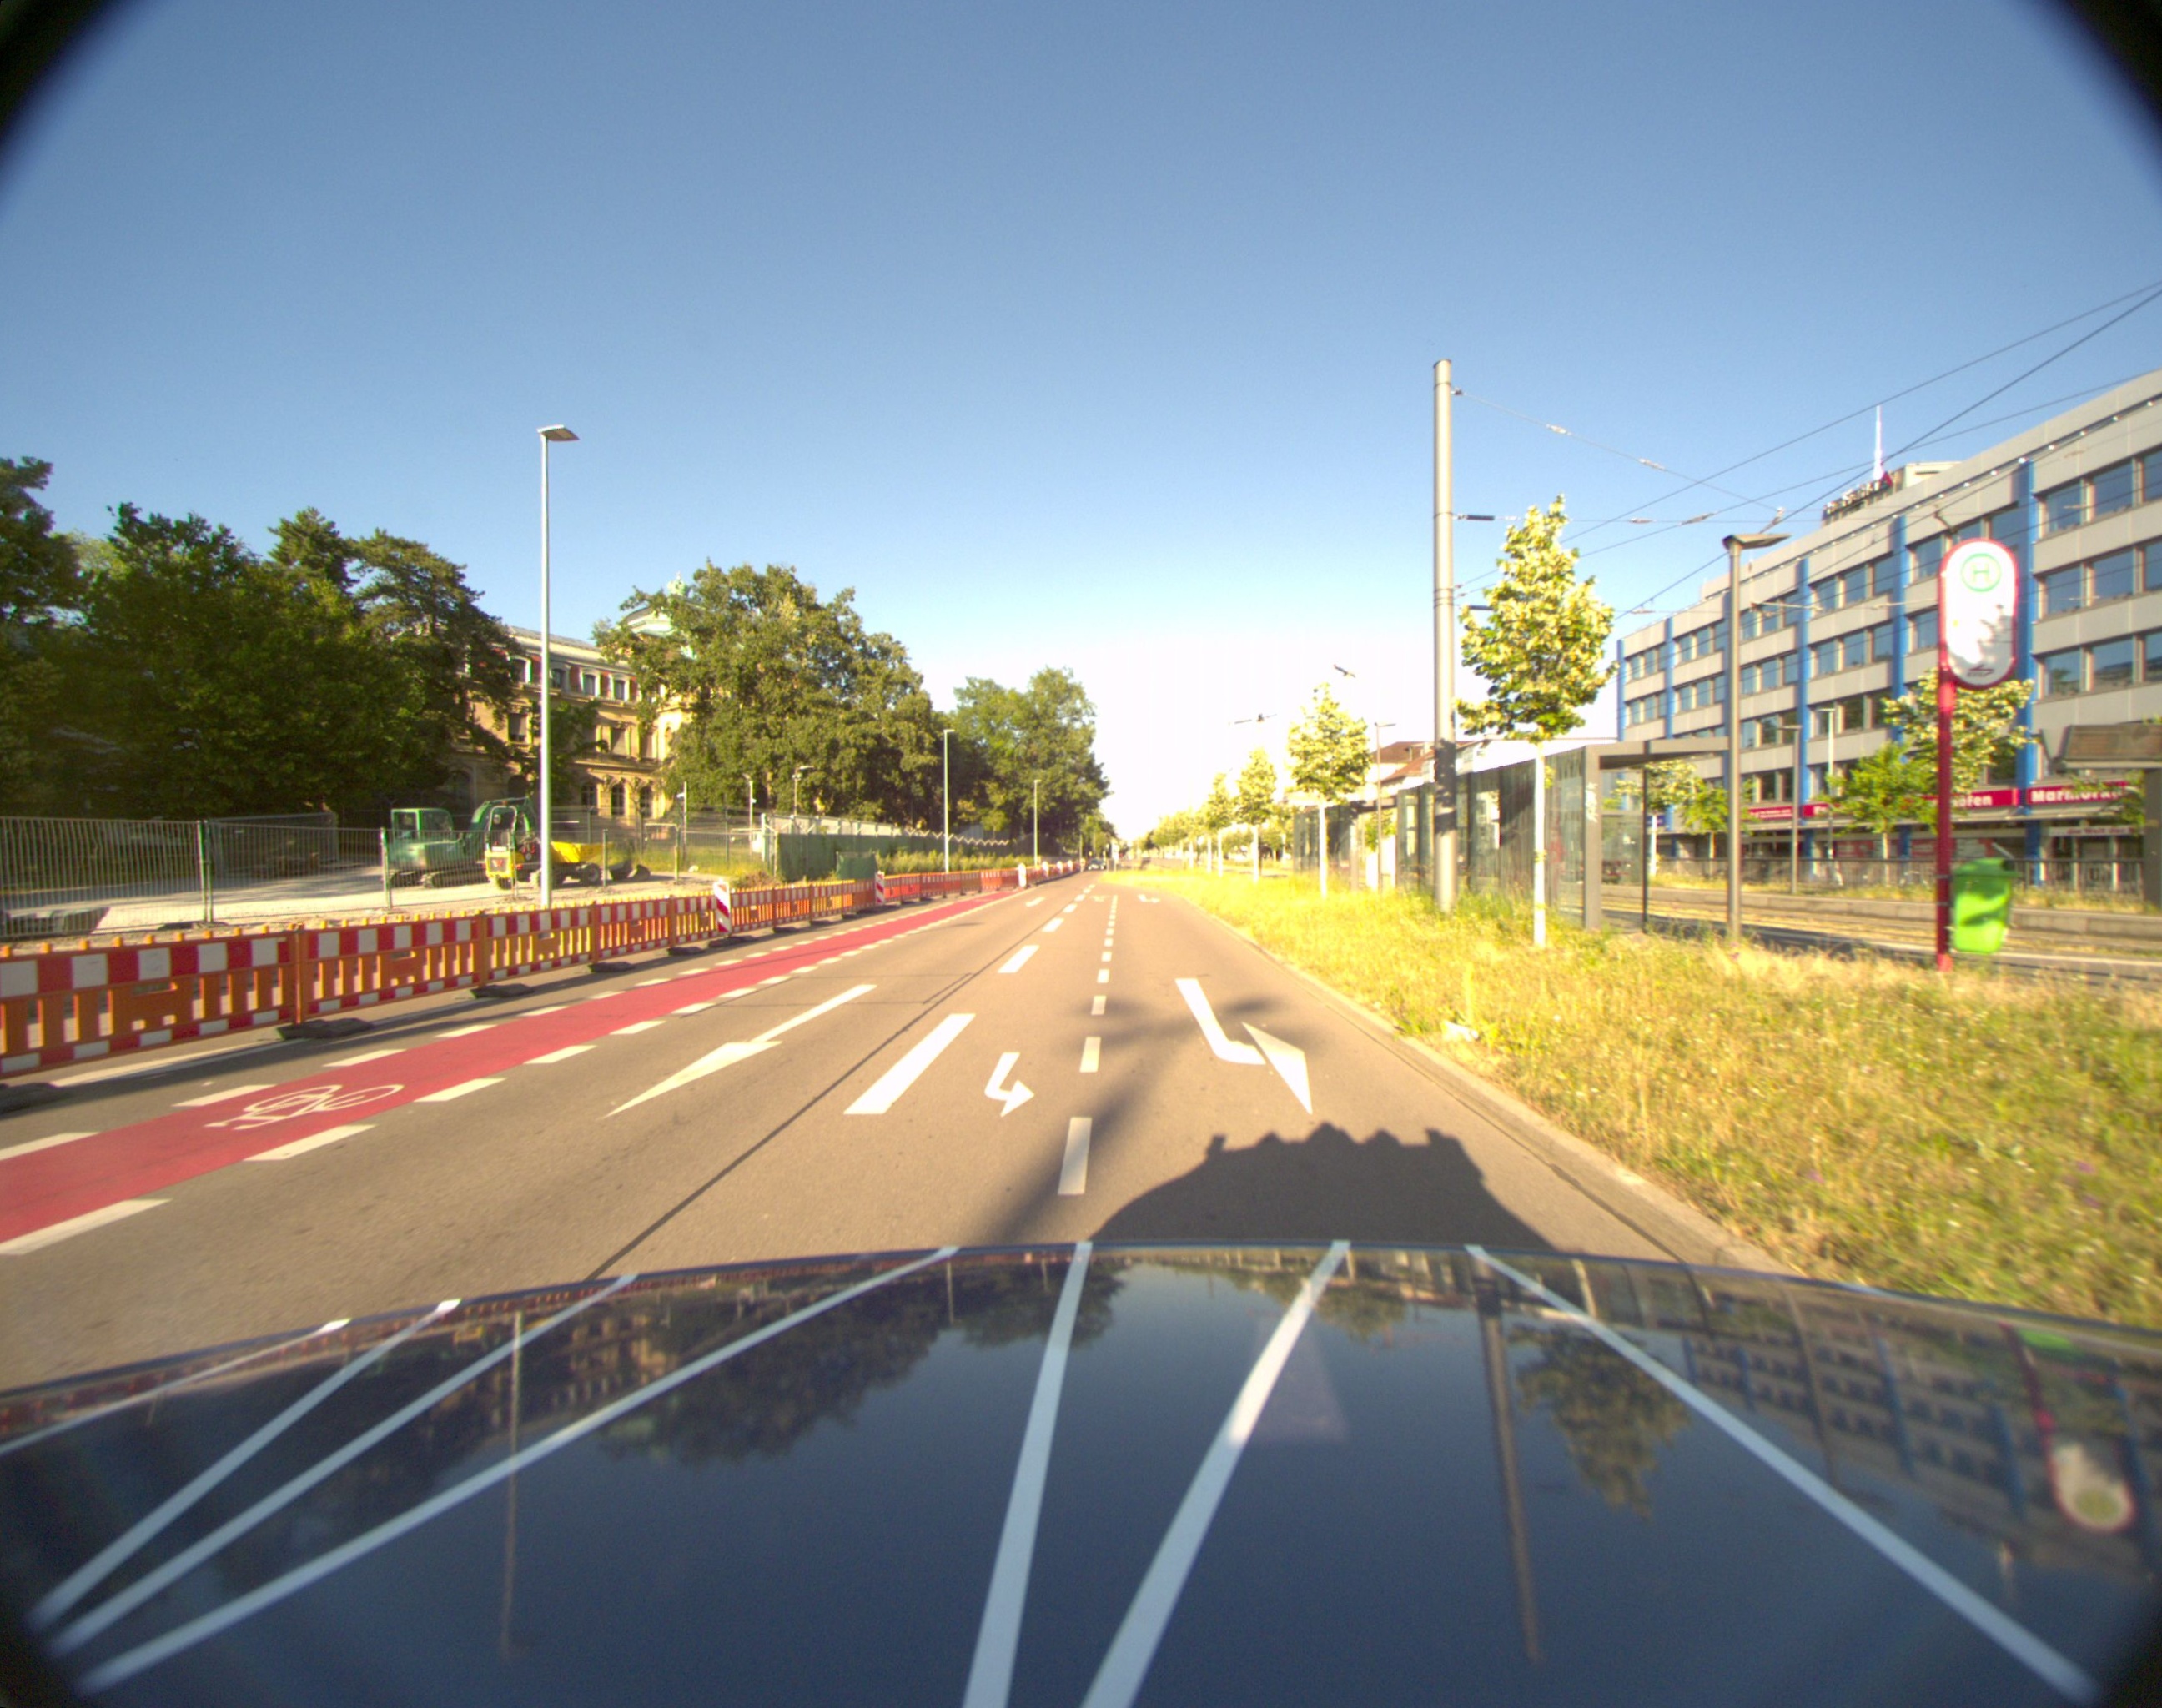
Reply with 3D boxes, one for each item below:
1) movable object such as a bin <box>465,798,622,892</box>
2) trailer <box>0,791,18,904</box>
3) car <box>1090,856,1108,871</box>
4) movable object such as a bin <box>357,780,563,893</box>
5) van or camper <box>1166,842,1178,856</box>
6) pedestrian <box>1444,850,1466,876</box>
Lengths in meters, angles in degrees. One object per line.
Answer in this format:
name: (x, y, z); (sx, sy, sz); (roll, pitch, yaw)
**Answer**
movable object such as a bin: (-17.782, -0.267, 25.387); (1.997, 2.887, 4.003); (0, 0, 10)
trailer: (-30.773, -0.010, 18.920); (2.616, 3.075, 3.982); (0, 5, 0)
car: (2.267, 1.189, 94.906); (2.080, 1.827, 4.001); (0, 0, 3)
movable object such as a bin: (-21.506, -0.544, 26.753); (2.280, 3.537, 5.502); (0, 0, 7)
van or camper: (20.408, -1.088, 171.282); (2.510, 3.149, 7.479); (-1, 0, 6)
pedestrian: (20.249, 0.470, 41.179); (0.840, 1.402, 0.804); (0, 1, 3)
